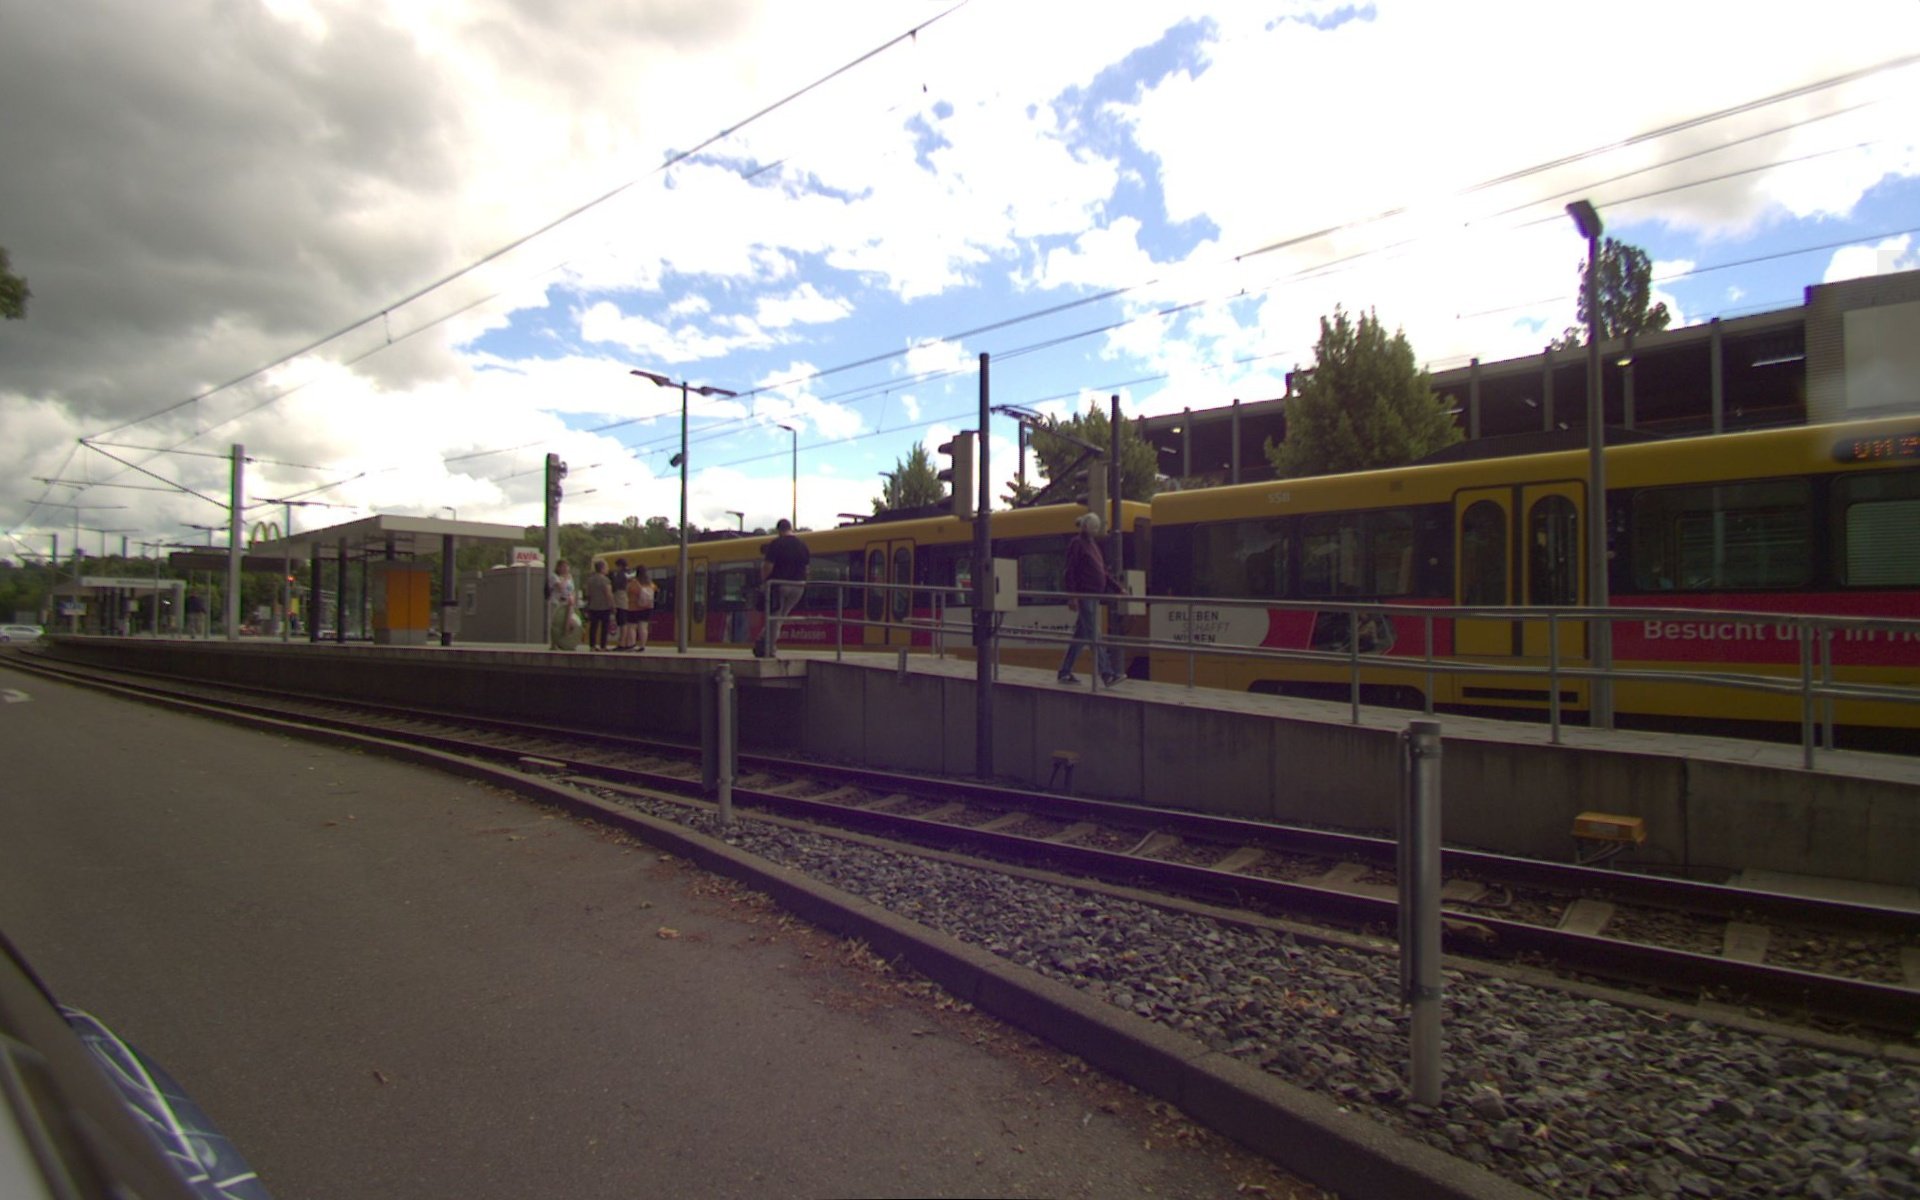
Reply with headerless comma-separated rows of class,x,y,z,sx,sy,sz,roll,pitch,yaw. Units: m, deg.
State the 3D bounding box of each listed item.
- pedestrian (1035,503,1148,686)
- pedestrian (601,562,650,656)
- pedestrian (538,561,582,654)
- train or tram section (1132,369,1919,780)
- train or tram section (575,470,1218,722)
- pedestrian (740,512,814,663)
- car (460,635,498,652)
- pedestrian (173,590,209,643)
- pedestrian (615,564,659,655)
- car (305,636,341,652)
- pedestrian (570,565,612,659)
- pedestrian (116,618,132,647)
pedestrian,1.283,-0.026,9.856,0.790,1.691,0.763,-2,-4,42
pedestrian,-5.462,0.152,16.513,0.540,1.494,0.472,-1,-4,29
pedestrian,-6.615,0.134,16.756,0.512,1.494,0.583,2,-3,-10
train or tram section,10.306,-0.222,10.145,18.635,3.858,2.725,-2,-3,44
train or tram section,-3.164,0.167,23.097,18.634,3.912,2.726,-2,-3,44
pedestrian,-2.131,-0.115,11.873,0.734,1.691,0.877,1,-3,-4
car,-39.735,3.583,83.575,3.637,1.360,1.595,-2,-3,44
pedestrian,-26.432,0.577,34.776,0.936,1.757,0.741,-2,-4,42
pedestrian,-5.131,0.162,16.068,0.411,1.416,0.474,-2,-4,41
car,-53.530,3.707,85.033,4.030,1.360,1.595,-2,-3,43
pedestrian,-5.917,0.195,16.243,0.639,1.476,0.357,-2,-3,41
pedestrian,-47.591,1.839,57.606,0.572,1.633,0.577,-2,-5,44
